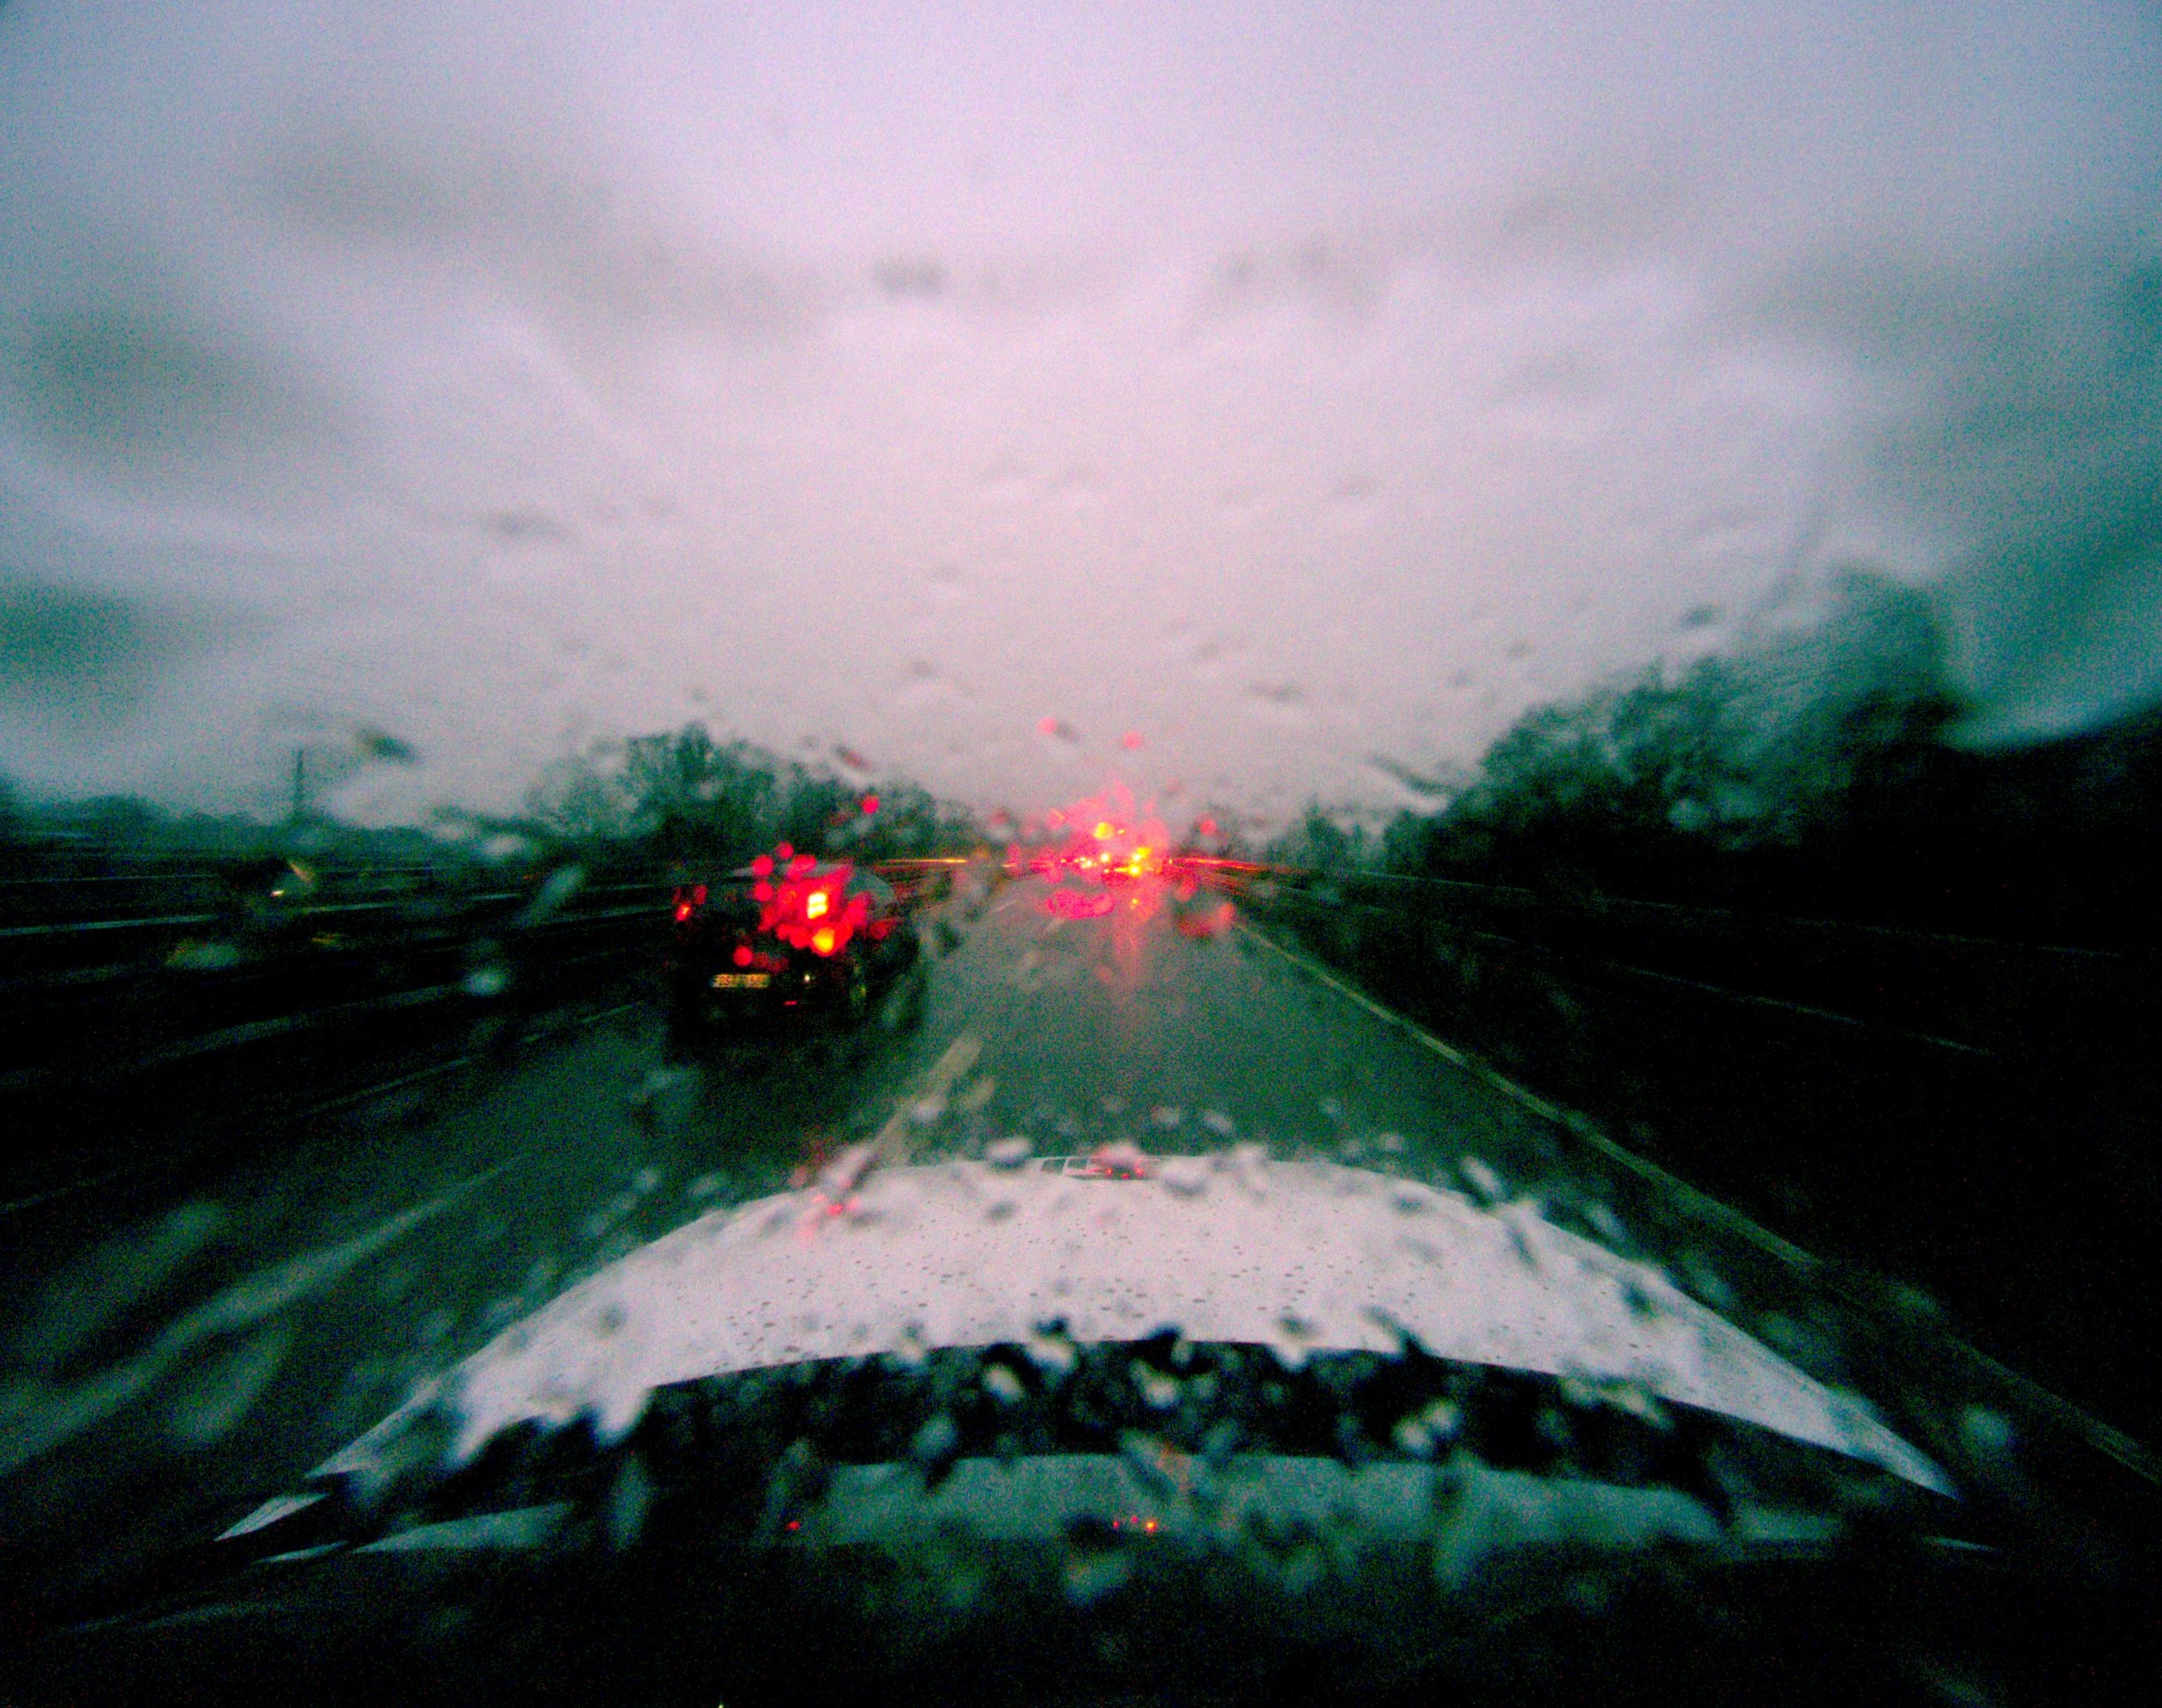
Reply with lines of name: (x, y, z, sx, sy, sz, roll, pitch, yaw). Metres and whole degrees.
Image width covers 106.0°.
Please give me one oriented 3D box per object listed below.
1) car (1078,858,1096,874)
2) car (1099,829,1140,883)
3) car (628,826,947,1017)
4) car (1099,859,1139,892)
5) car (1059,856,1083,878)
car: (0.645, 1.348, 92.114, 1.987, 1.713, 4.000, -1, 0, 0)
car: (2.276, 0.189, 49.113, 2.273, 2.966, 6.393, -1, -2, 2)
car: (-2.722, 0.621, 8.651, 1.723, 1.533, 4.045, -1, -2, 3)
car: (1.829, 0.984, 38.163, 1.729, 1.414, 4.381, 2, -1, 3)
car: (-0.900, 1.121, 72.719, 1.987, 1.815, 4.000, 2, 0, 0)
